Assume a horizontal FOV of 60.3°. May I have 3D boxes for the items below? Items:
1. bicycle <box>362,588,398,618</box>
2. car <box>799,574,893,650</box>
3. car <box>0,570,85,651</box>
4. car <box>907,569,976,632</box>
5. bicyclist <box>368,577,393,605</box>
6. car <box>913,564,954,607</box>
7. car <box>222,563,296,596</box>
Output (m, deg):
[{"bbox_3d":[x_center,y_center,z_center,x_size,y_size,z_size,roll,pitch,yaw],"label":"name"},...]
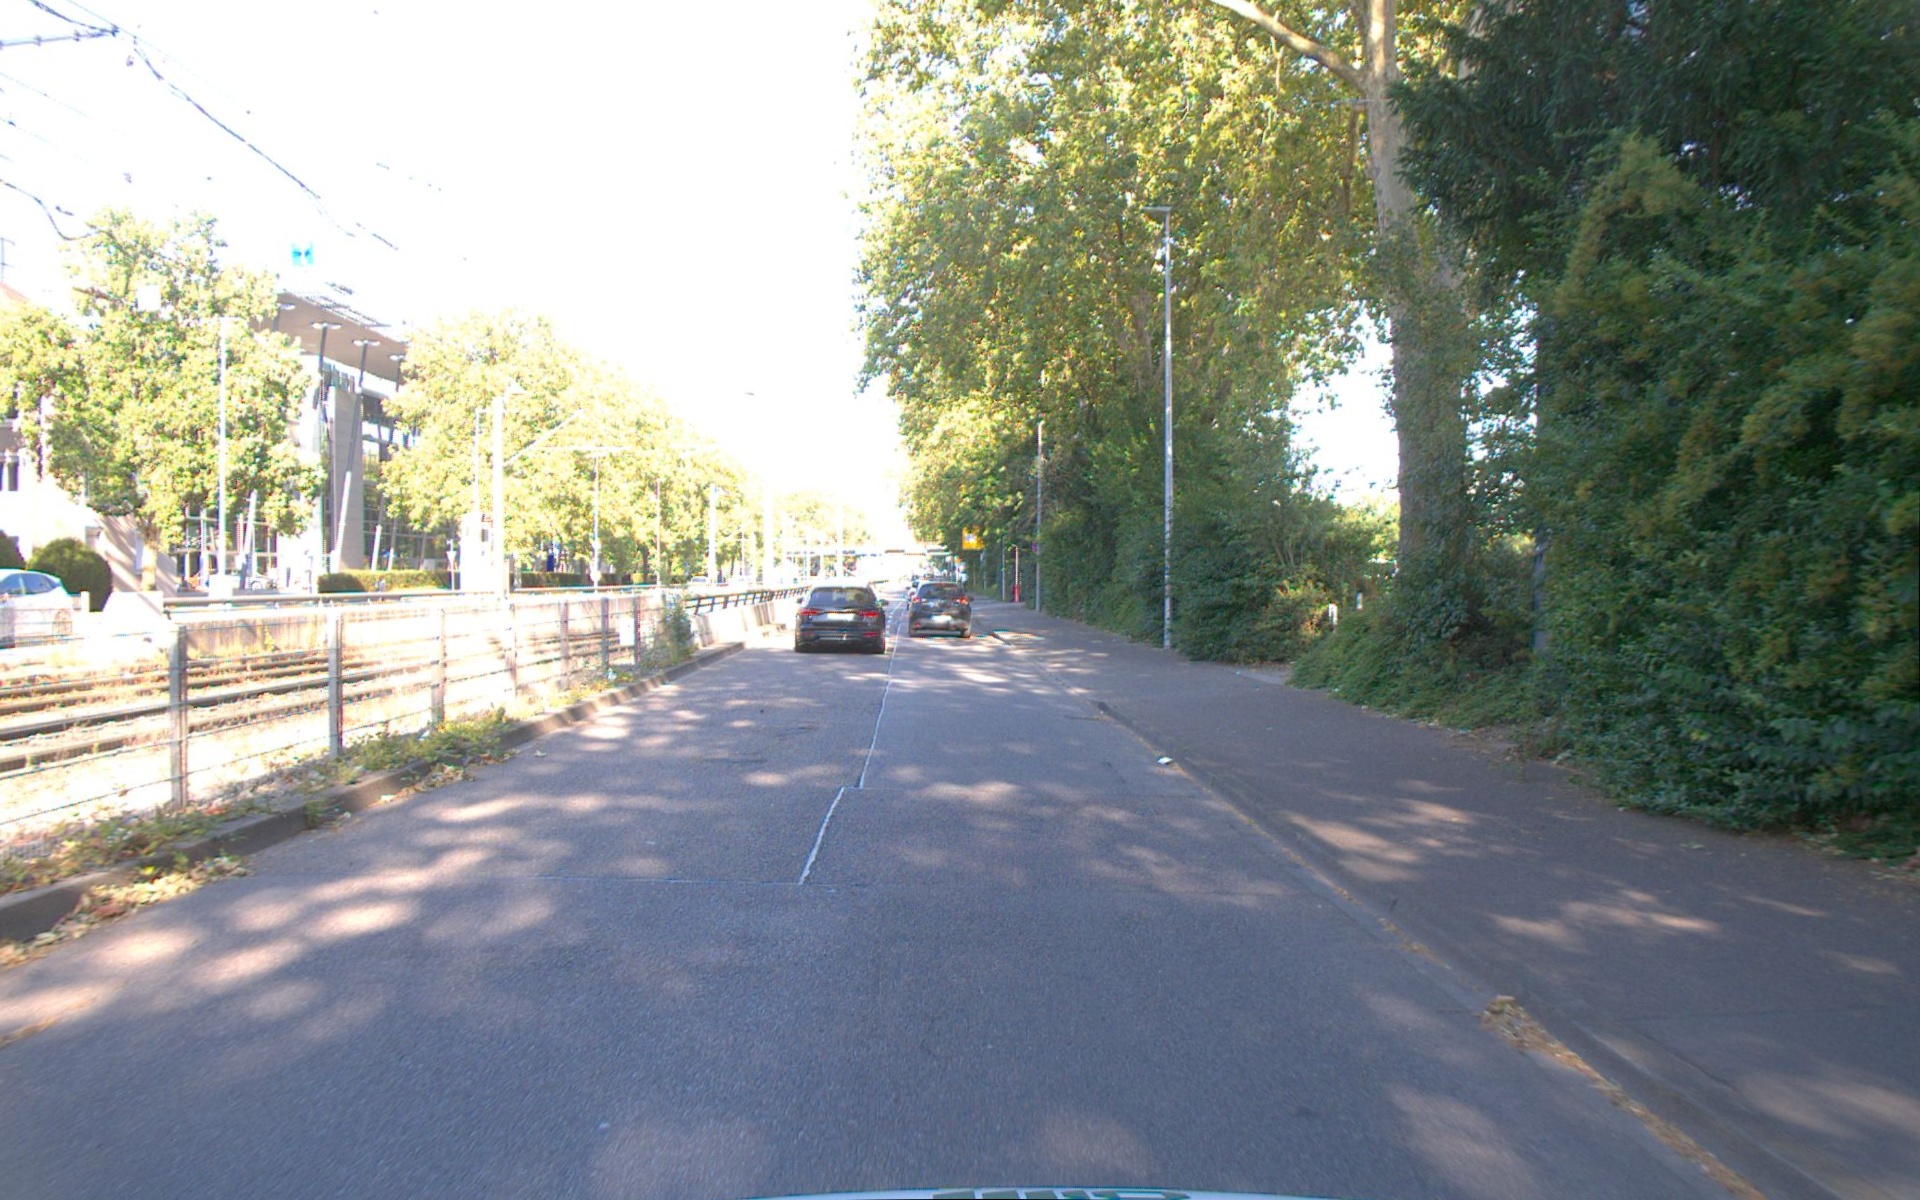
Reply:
[{"bbox_3d":[-30.860,0.152,88.032,0.911,1.512,3.176,-1,1,-3],"label":"bicycle"},{"bbox_3d":[-2.354,0.219,34.454,1.841,1.482,3.355,0,1,-3],"label":"car"},{"bbox_3d":[-19.393,0.175,32.846,1.953,1.557,3.999,1,0,-1],"label":"car"},{"bbox_3d":[-0.547,-0.017,45.317,1.727,1.647,3.998,0,1,-3],"label":"car"},{"bbox_3d":[-30.851,-0.489,88.050,0.911,1.512,1.272,-1,1,-3],"label":"bicyclist"},{"bbox_3d":[-1.298,-0.723,80.737,1.953,2.049,4.000,0,1,-1],"label":"car"},{"bbox_3d":[-45.163,-1.330,106.652,3.907,2.049,1.999,-1,1,-2],"label":"car"}]
